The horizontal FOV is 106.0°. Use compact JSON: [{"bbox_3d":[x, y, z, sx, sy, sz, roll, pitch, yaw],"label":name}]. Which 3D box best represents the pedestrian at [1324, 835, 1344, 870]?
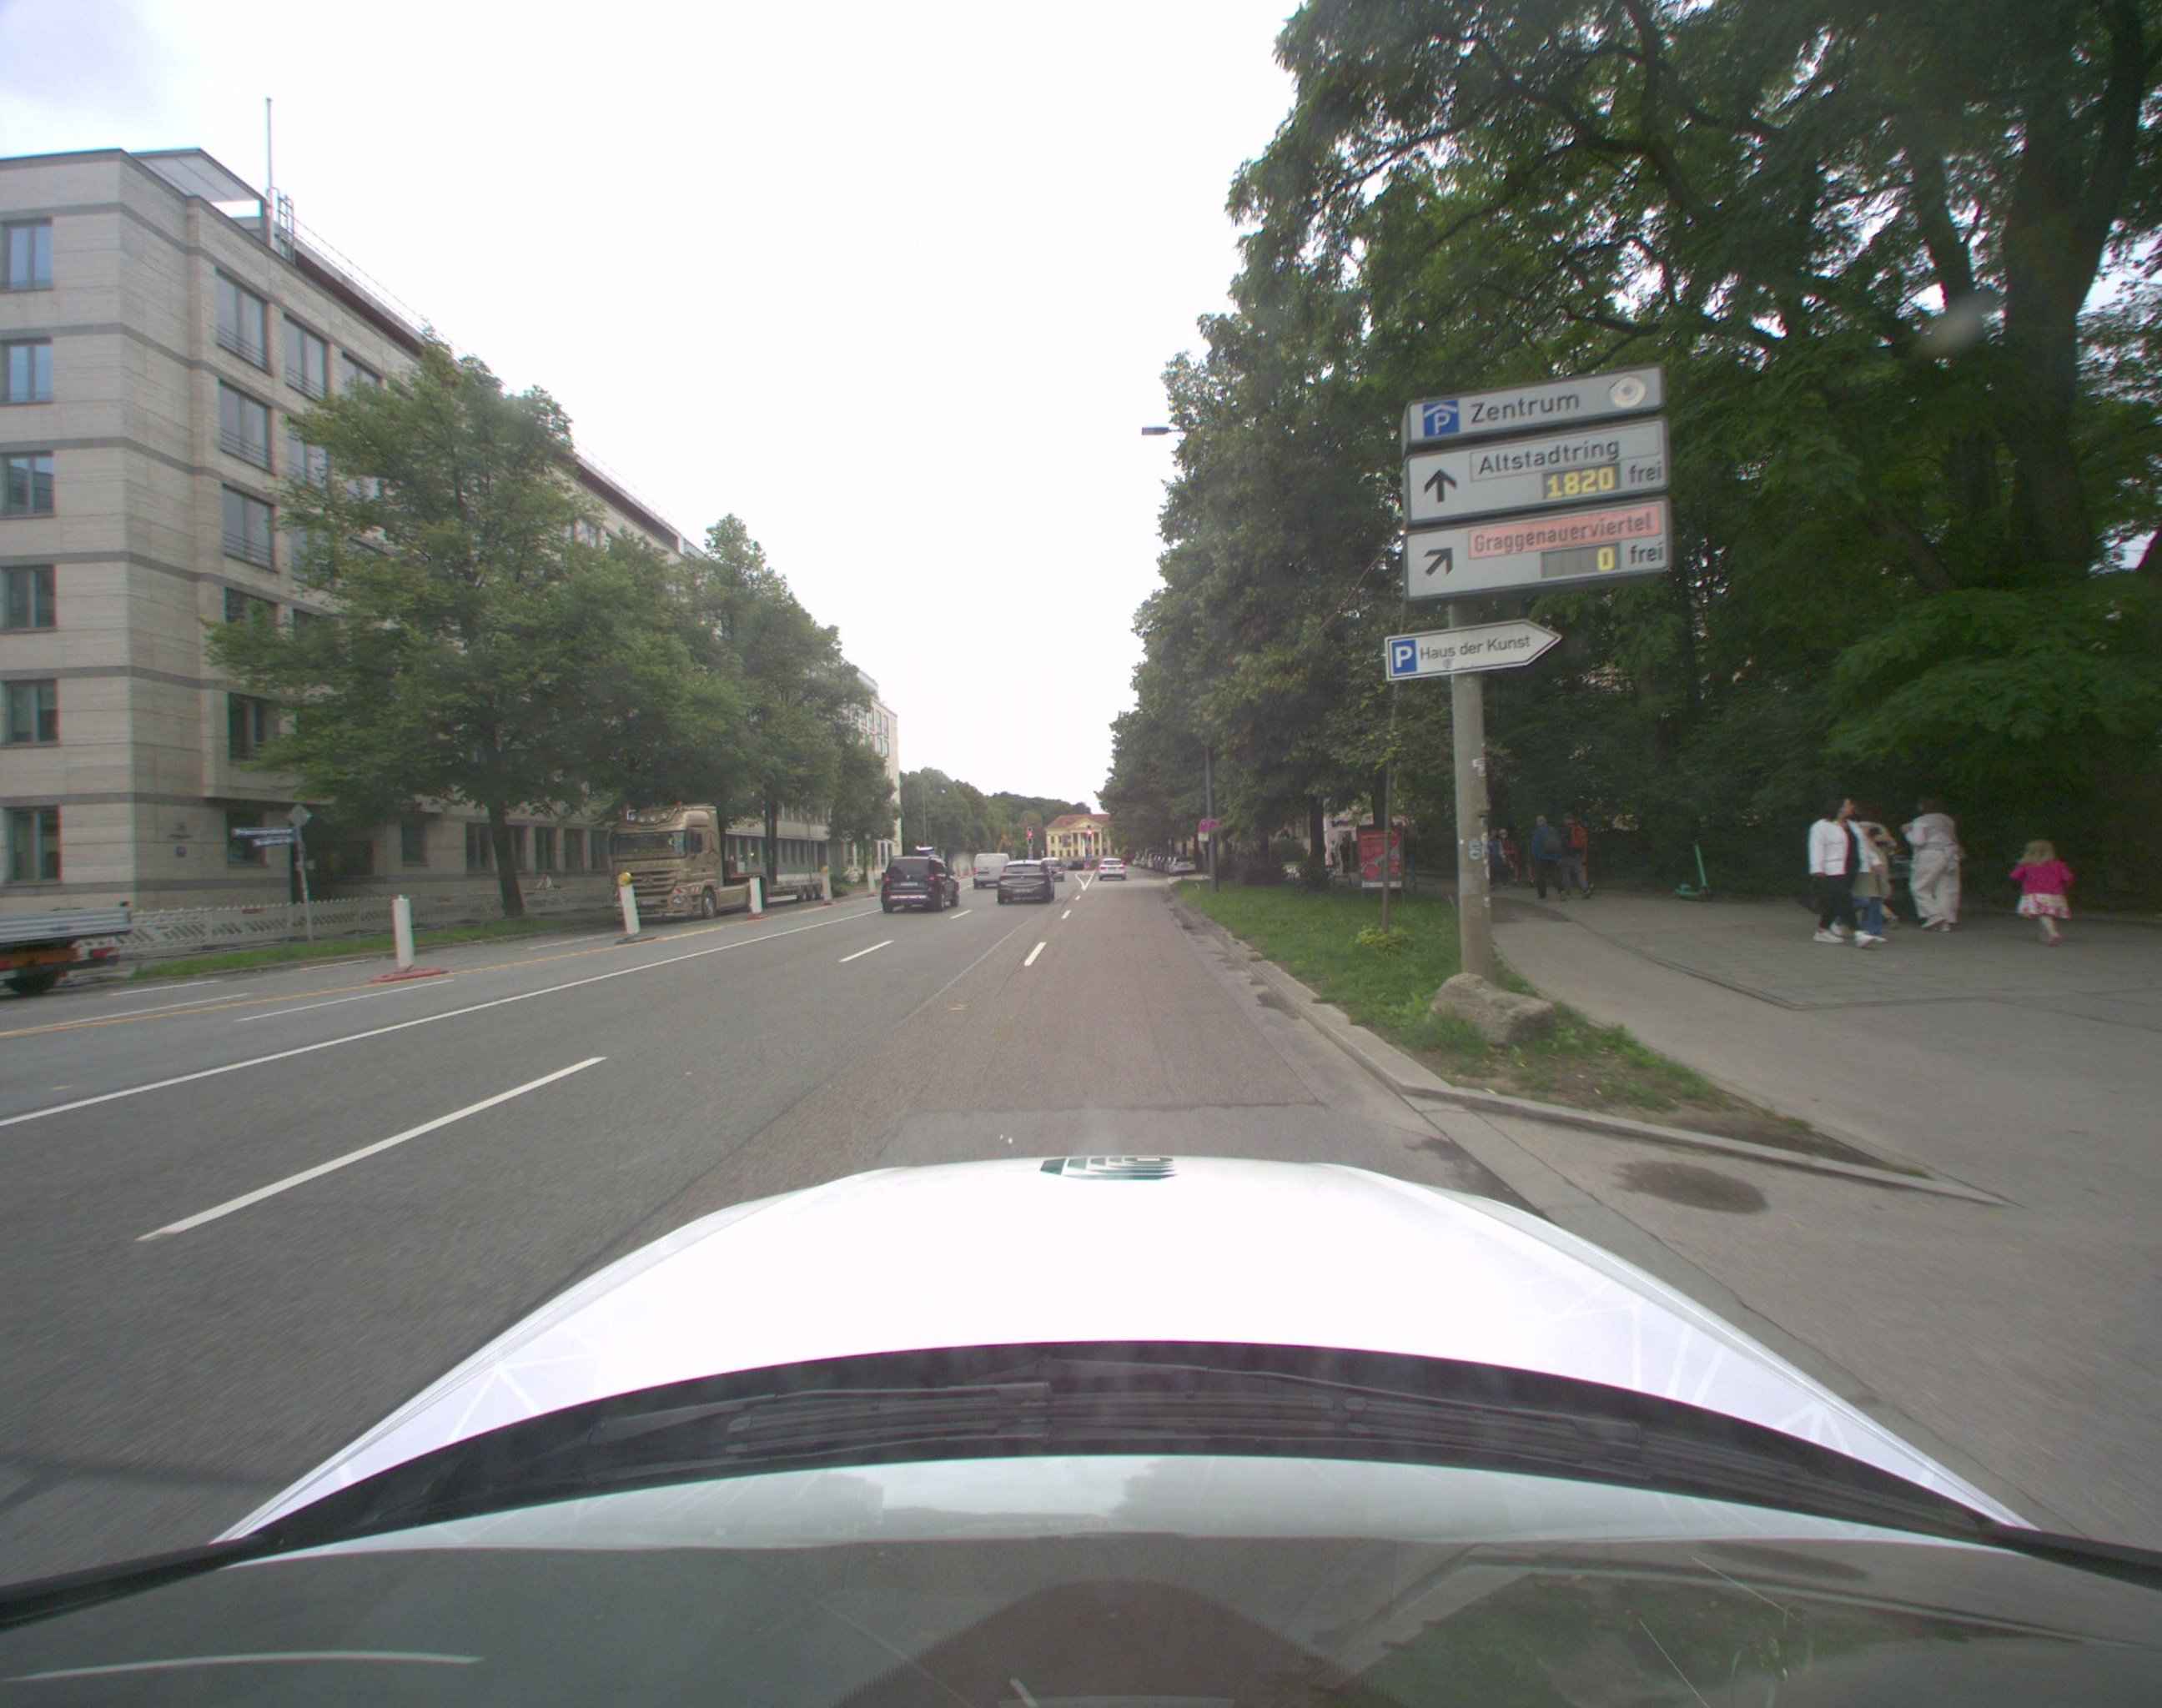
[{"bbox_3d":[13.517,-0.076,43.512,0.597,1.809,0.719,-4,-1,-22],"label":"pedestrian"}]

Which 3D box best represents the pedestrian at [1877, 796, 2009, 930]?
[{"bbox_3d":[10.549,0.114,10.007,0.678,1.566,0.873,-1,-1,2],"label":"pedestrian"}]

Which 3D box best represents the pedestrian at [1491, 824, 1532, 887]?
[{"bbox_3d":[11.551,0.042,21.863,0.681,1.637,0.661,-1,-1,-10],"label":"pedestrian"}]

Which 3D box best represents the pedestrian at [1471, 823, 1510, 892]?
[{"bbox_3d":[10.678,0.097,21.243,0.748,1.737,0.853,-1,-1,17],"label":"pedestrian"}]

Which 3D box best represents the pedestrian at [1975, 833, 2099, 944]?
[{"bbox_3d":[10.165,0.361,8.681,0.626,1.137,0.575,-1,-1,17],"label":"pedestrian"}]

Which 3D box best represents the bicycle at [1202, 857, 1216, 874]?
[{"bbox_3d":[9.611,0.858,61.082,0.626,1.231,2.618,-1,0,0],"label":"bicycle"}]

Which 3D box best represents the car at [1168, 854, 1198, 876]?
[{"bbox_3d":[7.715,0.802,62.057,1.820,1.550,4.754,-3,-1,3],"label":"car"}]

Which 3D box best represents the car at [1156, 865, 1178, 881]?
[{"bbox_3d":[8.330,1.842,79.426,1.815,1.464,4.030,-3,-1,2],"label":"car"}]

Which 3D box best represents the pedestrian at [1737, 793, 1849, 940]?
[{"bbox_3d":[8.275,0.147,9.498,0.748,1.644,0.653,-1,-1,17],"label":"pedestrian"}]

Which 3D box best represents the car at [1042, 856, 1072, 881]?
[{"bbox_3d":[-1.597,0.961,54.975,1.773,1.654,4.001,-1,0,1],"label":"car"}]

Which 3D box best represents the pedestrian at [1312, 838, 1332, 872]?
[{"bbox_3d":[13.074,0.072,44.169,0.597,1.809,0.719,-4,-1,-22],"label":"pedestrian"}]

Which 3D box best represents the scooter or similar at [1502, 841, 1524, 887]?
[{"bbox_3d":[11.892,0.271,22.416,0.301,1.224,0.932,-2,-1,41],"label":"scooter or similar"}]

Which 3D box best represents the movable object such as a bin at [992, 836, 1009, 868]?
[{"bbox_3d":[-16.528,-0.325,167.541,2.689,6.511,5.178,-1,-1,2],"label":"movable object such as a bin"}]

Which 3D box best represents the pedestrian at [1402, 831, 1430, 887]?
[{"bbox_3d":[10.685,0.157,26.009,0.604,1.763,0.798,-1,-1,5],"label":"pedestrian"}]

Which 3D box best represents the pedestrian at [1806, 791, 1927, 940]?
[{"bbox_3d":[9.043,0.136,9.415,0.748,1.644,0.694,-1,-1,17],"label":"pedestrian"}]

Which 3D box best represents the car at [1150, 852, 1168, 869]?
[{"bbox_3d":[8.869,0.717,93.123,1.717,1.867,4.030,-3,-1,3],"label":"car"}]

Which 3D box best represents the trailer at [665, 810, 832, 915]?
[{"bbox_3d":[-13.768,0.342,35.215,2.943,3.740,11.756,-1,0,-3],"label":"trailer"}]

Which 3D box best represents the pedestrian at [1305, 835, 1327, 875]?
[{"bbox_3d":[12.364,0.049,42.882,0.760,2.013,0.777,-5,-1,2],"label":"pedestrian"}]

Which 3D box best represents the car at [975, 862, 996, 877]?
[{"bbox_3d":[-11.085,1.827,94.836,1.988,1.596,3.998,-3,-1,-1],"label":"car"}]

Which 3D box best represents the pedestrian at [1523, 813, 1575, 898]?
[{"bbox_3d":[9.768,0.038,17.026,0.748,1.737,0.853,-1,-1,17],"label":"pedestrian"}]

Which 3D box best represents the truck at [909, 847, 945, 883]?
[{"bbox_3d":[-15.249,1.097,81.370,2.837,3.357,8.744,-1,0,-6],"label":"truck"}]

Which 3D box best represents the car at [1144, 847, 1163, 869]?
[{"bbox_3d":[8.898,0.478,100.197,1.987,2.643,4.877,-1,0,0],"label":"car"}]

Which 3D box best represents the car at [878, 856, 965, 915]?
[{"bbox_3d":[-4.883,0.921,25.487,1.716,1.636,4.205,-2,-1,1],"label":"car"}]

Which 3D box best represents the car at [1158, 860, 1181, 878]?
[{"bbox_3d":[8.022,1.329,73.963,1.717,1.464,4.778,-3,-1,3],"label":"car"}]

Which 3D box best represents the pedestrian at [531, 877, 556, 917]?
[{"bbox_3d":[-23.417,1.865,35.482,0.576,1.732,0.764,-1,-1,2],"label":"pedestrian"}]

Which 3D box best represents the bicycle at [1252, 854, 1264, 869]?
[{"bbox_3d":[17.170,0.711,78.933,0.696,1.415,2.300,-2,-1,2],"label":"bicycle"}]

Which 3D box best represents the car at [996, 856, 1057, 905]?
[{"bbox_3d":[-1.839,0.881,28.638,1.703,1.552,4.002,-1,0,2],"label":"car"}]

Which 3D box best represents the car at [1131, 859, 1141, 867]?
[{"bbox_3d":[9.954,1.675,146.899,1.717,1.324,4.030,-3,-1,3],"label":"car"}]

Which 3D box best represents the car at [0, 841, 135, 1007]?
[{"bbox_3d":[-19.462,1.189,13.099,5.667,2.536,2.154,-2,-1,-3],"label":"car"}]

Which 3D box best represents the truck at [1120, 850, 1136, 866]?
[{"bbox_3d":[10.581,0.890,184.270,3.313,3.367,8.666,-1,0,2],"label":"truck"}]

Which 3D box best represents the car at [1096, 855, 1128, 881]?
[{"bbox_3d":[2.028,0.928,54.495,1.775,1.644,3.995,-1,0,-3],"label":"car"}]

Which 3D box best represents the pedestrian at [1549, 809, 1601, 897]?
[{"bbox_3d":[10.476,-0.014,17.293,0.585,1.822,0.850,-1,-1,3],"label":"pedestrian"}]

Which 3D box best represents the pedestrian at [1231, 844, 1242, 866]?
[{"bbox_3d":[13.417,0.094,70.333,0.761,1.910,0.771,-1,-1,2],"label":"pedestrian"}]

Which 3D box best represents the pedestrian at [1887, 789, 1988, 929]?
[{"bbox_3d":[10.536,0.060,10.039,0.626,1.667,0.575,-1,-1,17],"label":"pedestrian"}]

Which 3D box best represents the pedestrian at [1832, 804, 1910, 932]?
[{"bbox_3d":[10.008,0.175,10.332,0.481,1.566,0.575,-1,-1,17],"label":"pedestrian"}]

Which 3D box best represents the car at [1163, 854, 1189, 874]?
[{"bbox_3d":[7.802,0.816,67.020,1.717,1.550,4.588,-3,-1,3],"label":"car"}]

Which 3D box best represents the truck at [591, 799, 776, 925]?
[{"bbox_3d":[-13.451,0.271,28.437,2.909,3.775,7.658,-1,0,-2],"label":"truck"}]

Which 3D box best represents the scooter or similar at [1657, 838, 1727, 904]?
[{"bbox_3d":[11.551,0.320,15.428,0.416,1.199,1.219,-1,-1,2],"label":"scooter or similar"}]

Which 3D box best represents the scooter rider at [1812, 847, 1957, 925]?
[{"bbox_3d":[10.775,0.414,10.971,0.852,0.985,1.115,-1,0,2],"label":"scooter rider"}]

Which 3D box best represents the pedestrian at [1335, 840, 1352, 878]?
[{"bbox_3d":[11.664,0.220,36.211,0.577,1.675,0.554,-1,-1,5],"label":"pedestrian"}]

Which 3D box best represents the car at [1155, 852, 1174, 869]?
[{"bbox_3d":[8.772,0.637,85.848,1.717,1.665,4.592,-3,-1,3],"label":"car"}]

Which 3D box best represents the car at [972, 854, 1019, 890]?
[{"bbox_3d":[-4.683,0.969,45.268,1.891,1.847,4.957,-2,-1,1],"label":"car"}]

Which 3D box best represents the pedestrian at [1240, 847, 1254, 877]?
[{"bbox_3d":[10.699,0.501,52.508,0.776,1.910,0.771,-1,-1,2],"label":"pedestrian"}]

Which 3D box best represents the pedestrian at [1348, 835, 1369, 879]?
[{"bbox_3d":[11.371,0.129,33.413,0.627,1.774,0.783,-1,-1,5],"label":"pedestrian"}]
